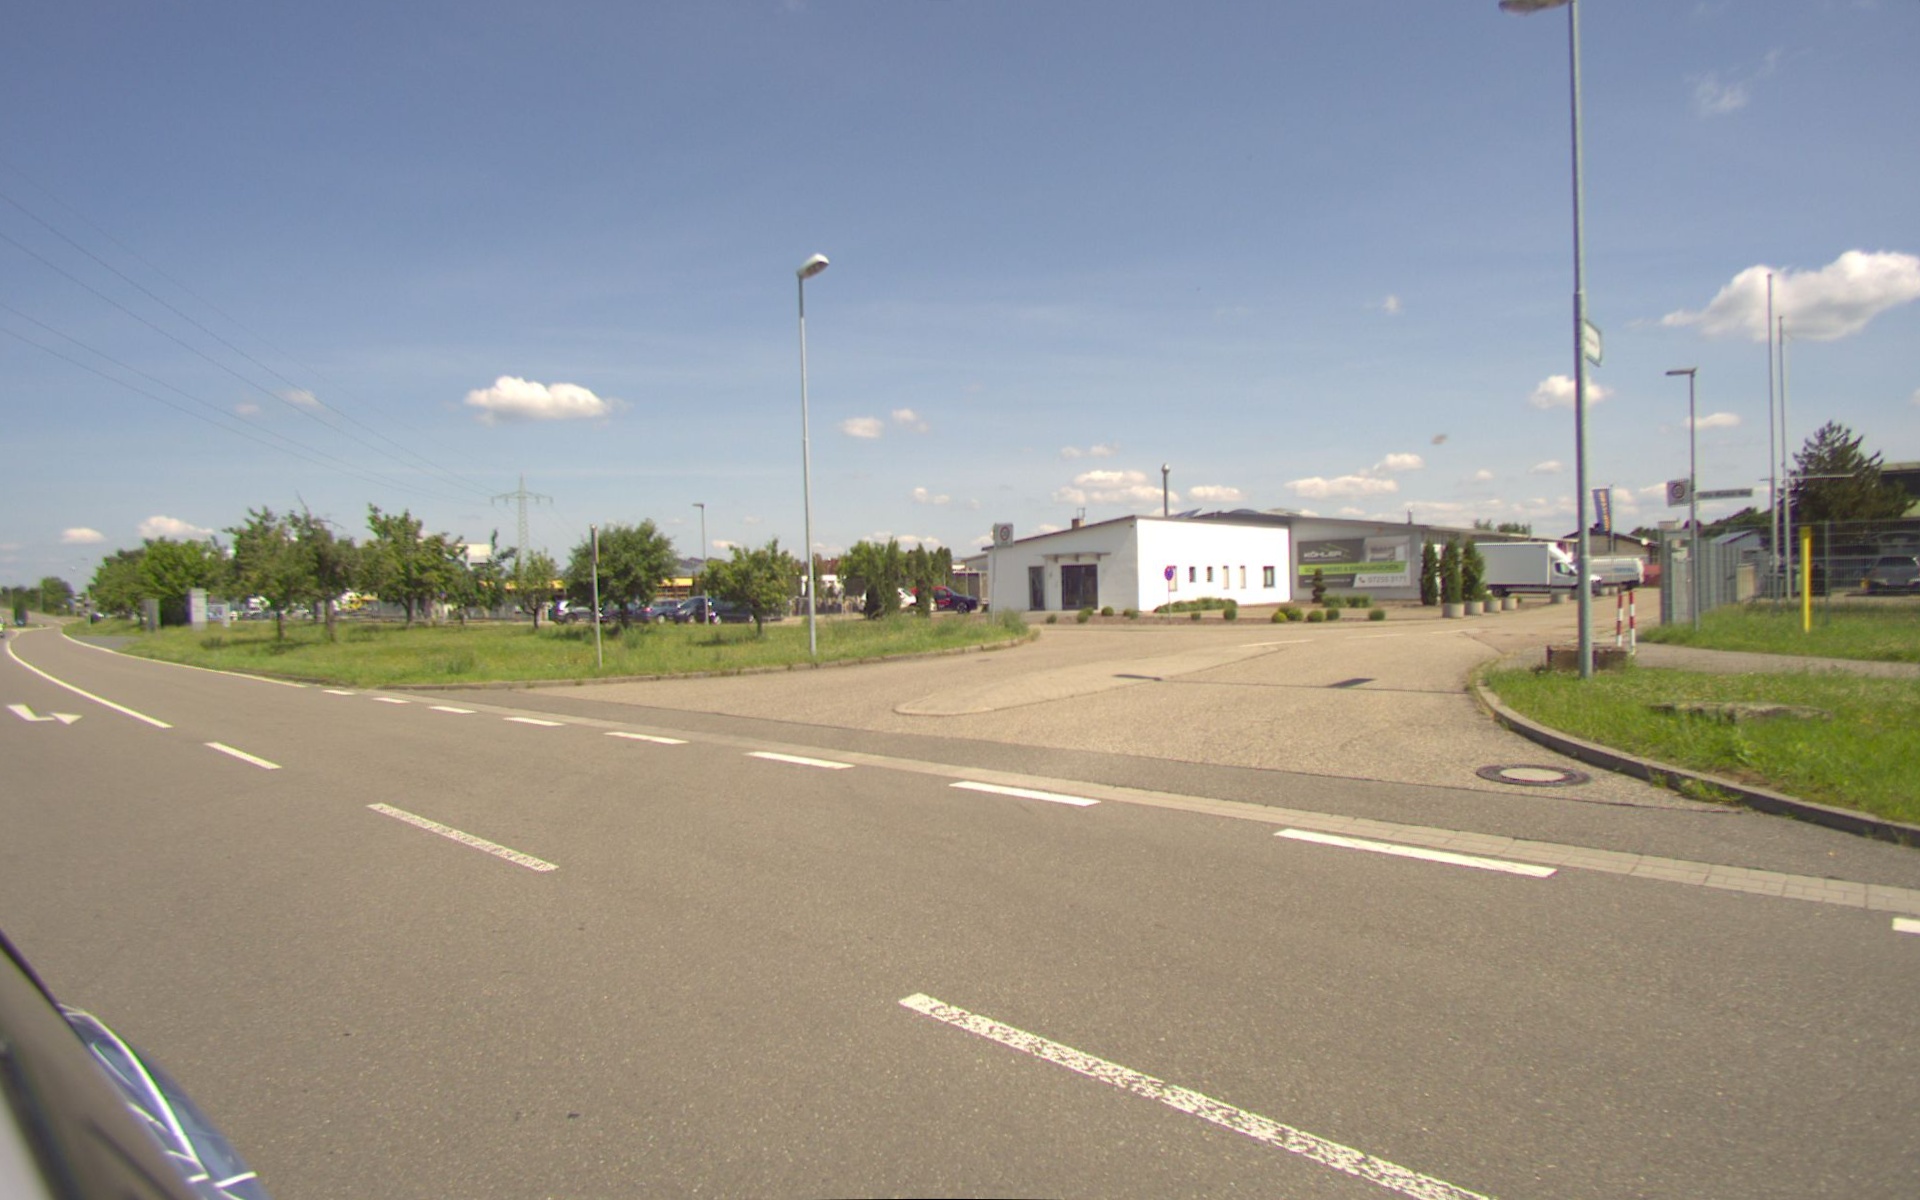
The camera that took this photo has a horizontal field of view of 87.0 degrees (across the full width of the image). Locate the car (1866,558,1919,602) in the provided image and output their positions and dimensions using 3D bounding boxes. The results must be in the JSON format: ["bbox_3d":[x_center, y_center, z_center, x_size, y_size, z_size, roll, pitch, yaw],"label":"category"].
[{"bbox_3d":[42.047,-0.922,45.312,1.998,1.862,3.948,-2,1,39],"label":"car"}]

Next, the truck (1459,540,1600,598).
[{"bbox_3d":[34.500,-1.828,61.529,7.187,3.237,1.973,-2,1,41],"label":"truck"}]

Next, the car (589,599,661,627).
[{"bbox_3d":[-20.952,0.782,63.396,1.665,1.567,3.946,-2,1,41],"label":"car"}]

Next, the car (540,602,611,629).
[{"bbox_3d":[-25.718,1.004,67.793,1.999,1.539,3.947,-1,2,41],"label":"car"}]

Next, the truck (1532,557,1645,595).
[{"bbox_3d":[48.743,-1.825,78.595,7.187,2.685,2.116,-2,1,41],"label":"truck"}]

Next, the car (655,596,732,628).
[{"bbox_3d":[-15.500,0.669,58.976,1.857,1.652,3.946,-2,1,41],"label":"car"}]

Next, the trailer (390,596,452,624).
[{"bbox_3d":[-60.954,1.093,114.502,2.738,2.846,5.507,-2,1,39],"label":"trailer"}]

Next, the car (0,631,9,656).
[{"bbox_3d":[-77.919,3.534,81.257,1.969,1.929,4.006,-2,1,-40],"label":"car"}]

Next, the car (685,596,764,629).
[{"bbox_3d":[-13.369,0.701,57.671,1.999,1.652,3.946,-2,1,41],"label":"car"}]

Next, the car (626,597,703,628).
[{"bbox_3d":[-17.625,0.717,60.547,1.999,1.652,3.946,-2,1,41],"label":"car"}]

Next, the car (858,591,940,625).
[{"bbox_3d":[-3.316,0.435,55.569,4.126,1.652,1.993,-2,1,12],"label":"car"}]

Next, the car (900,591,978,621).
[{"bbox_3d":[-1.166,0.332,58.044,4.126,1.540,1.993,-2,1,12],"label":"car"}]
